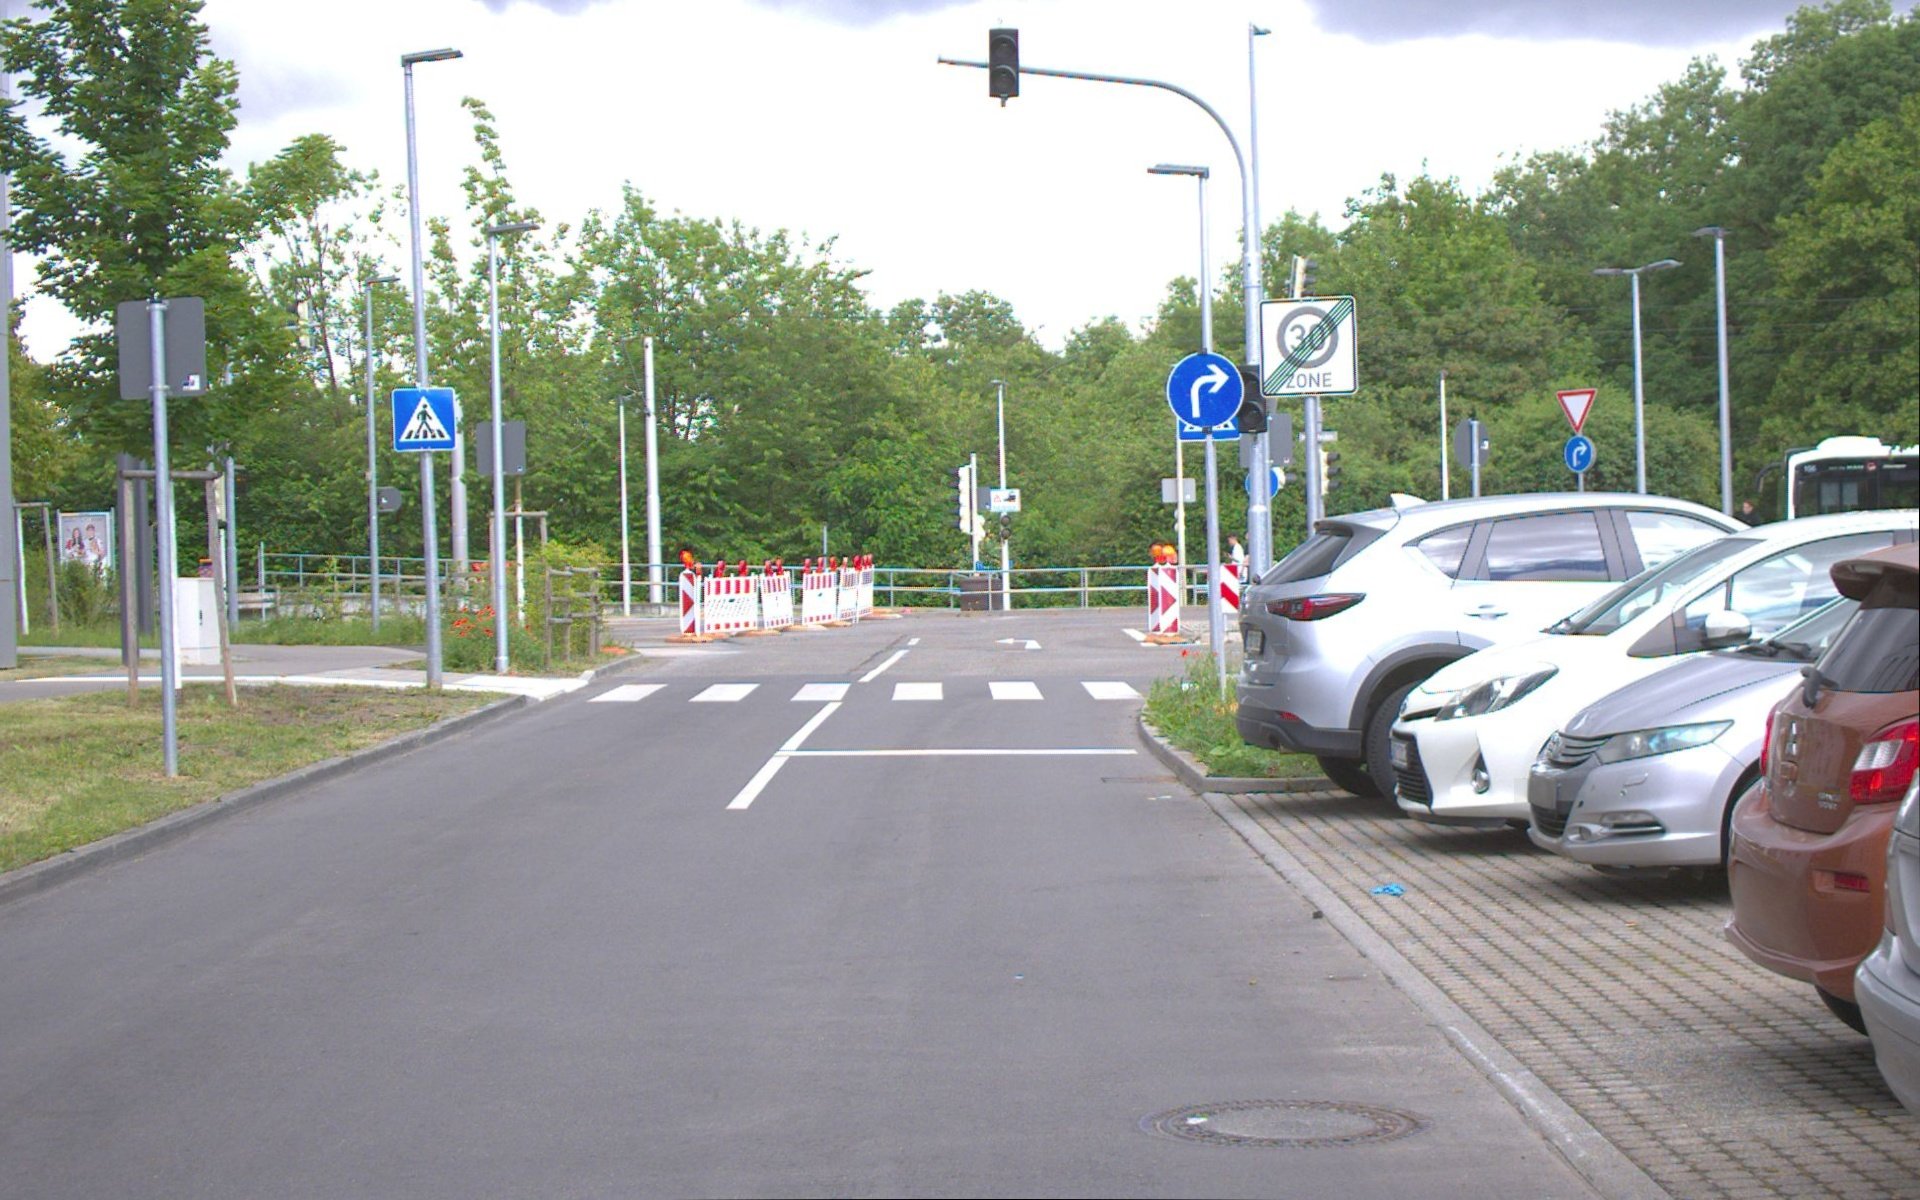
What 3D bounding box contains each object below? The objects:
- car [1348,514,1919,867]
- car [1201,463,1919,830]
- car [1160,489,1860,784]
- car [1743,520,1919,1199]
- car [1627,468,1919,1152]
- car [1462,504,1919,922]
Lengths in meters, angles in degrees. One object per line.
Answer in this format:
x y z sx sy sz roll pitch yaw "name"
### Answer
4.175 0.388 16.436 4.378 1.577 1.916 0 1 -2 "car"
3.608 0.222 18.876 4.378 1.897 1.916 0 1 -2 "car"
3.624 0.220 23.213 4.378 1.897 1.916 0 1 -2 "car"
3.918 0.578 6.562 4.378 1.470 1.916 0 1 -2 "car"
4.163 0.472 9.123 4.378 1.612 1.916 0 1 -2 "car"
4.398 0.406 14.022 4.378 1.577 1.916 0 1 -2 "car"
